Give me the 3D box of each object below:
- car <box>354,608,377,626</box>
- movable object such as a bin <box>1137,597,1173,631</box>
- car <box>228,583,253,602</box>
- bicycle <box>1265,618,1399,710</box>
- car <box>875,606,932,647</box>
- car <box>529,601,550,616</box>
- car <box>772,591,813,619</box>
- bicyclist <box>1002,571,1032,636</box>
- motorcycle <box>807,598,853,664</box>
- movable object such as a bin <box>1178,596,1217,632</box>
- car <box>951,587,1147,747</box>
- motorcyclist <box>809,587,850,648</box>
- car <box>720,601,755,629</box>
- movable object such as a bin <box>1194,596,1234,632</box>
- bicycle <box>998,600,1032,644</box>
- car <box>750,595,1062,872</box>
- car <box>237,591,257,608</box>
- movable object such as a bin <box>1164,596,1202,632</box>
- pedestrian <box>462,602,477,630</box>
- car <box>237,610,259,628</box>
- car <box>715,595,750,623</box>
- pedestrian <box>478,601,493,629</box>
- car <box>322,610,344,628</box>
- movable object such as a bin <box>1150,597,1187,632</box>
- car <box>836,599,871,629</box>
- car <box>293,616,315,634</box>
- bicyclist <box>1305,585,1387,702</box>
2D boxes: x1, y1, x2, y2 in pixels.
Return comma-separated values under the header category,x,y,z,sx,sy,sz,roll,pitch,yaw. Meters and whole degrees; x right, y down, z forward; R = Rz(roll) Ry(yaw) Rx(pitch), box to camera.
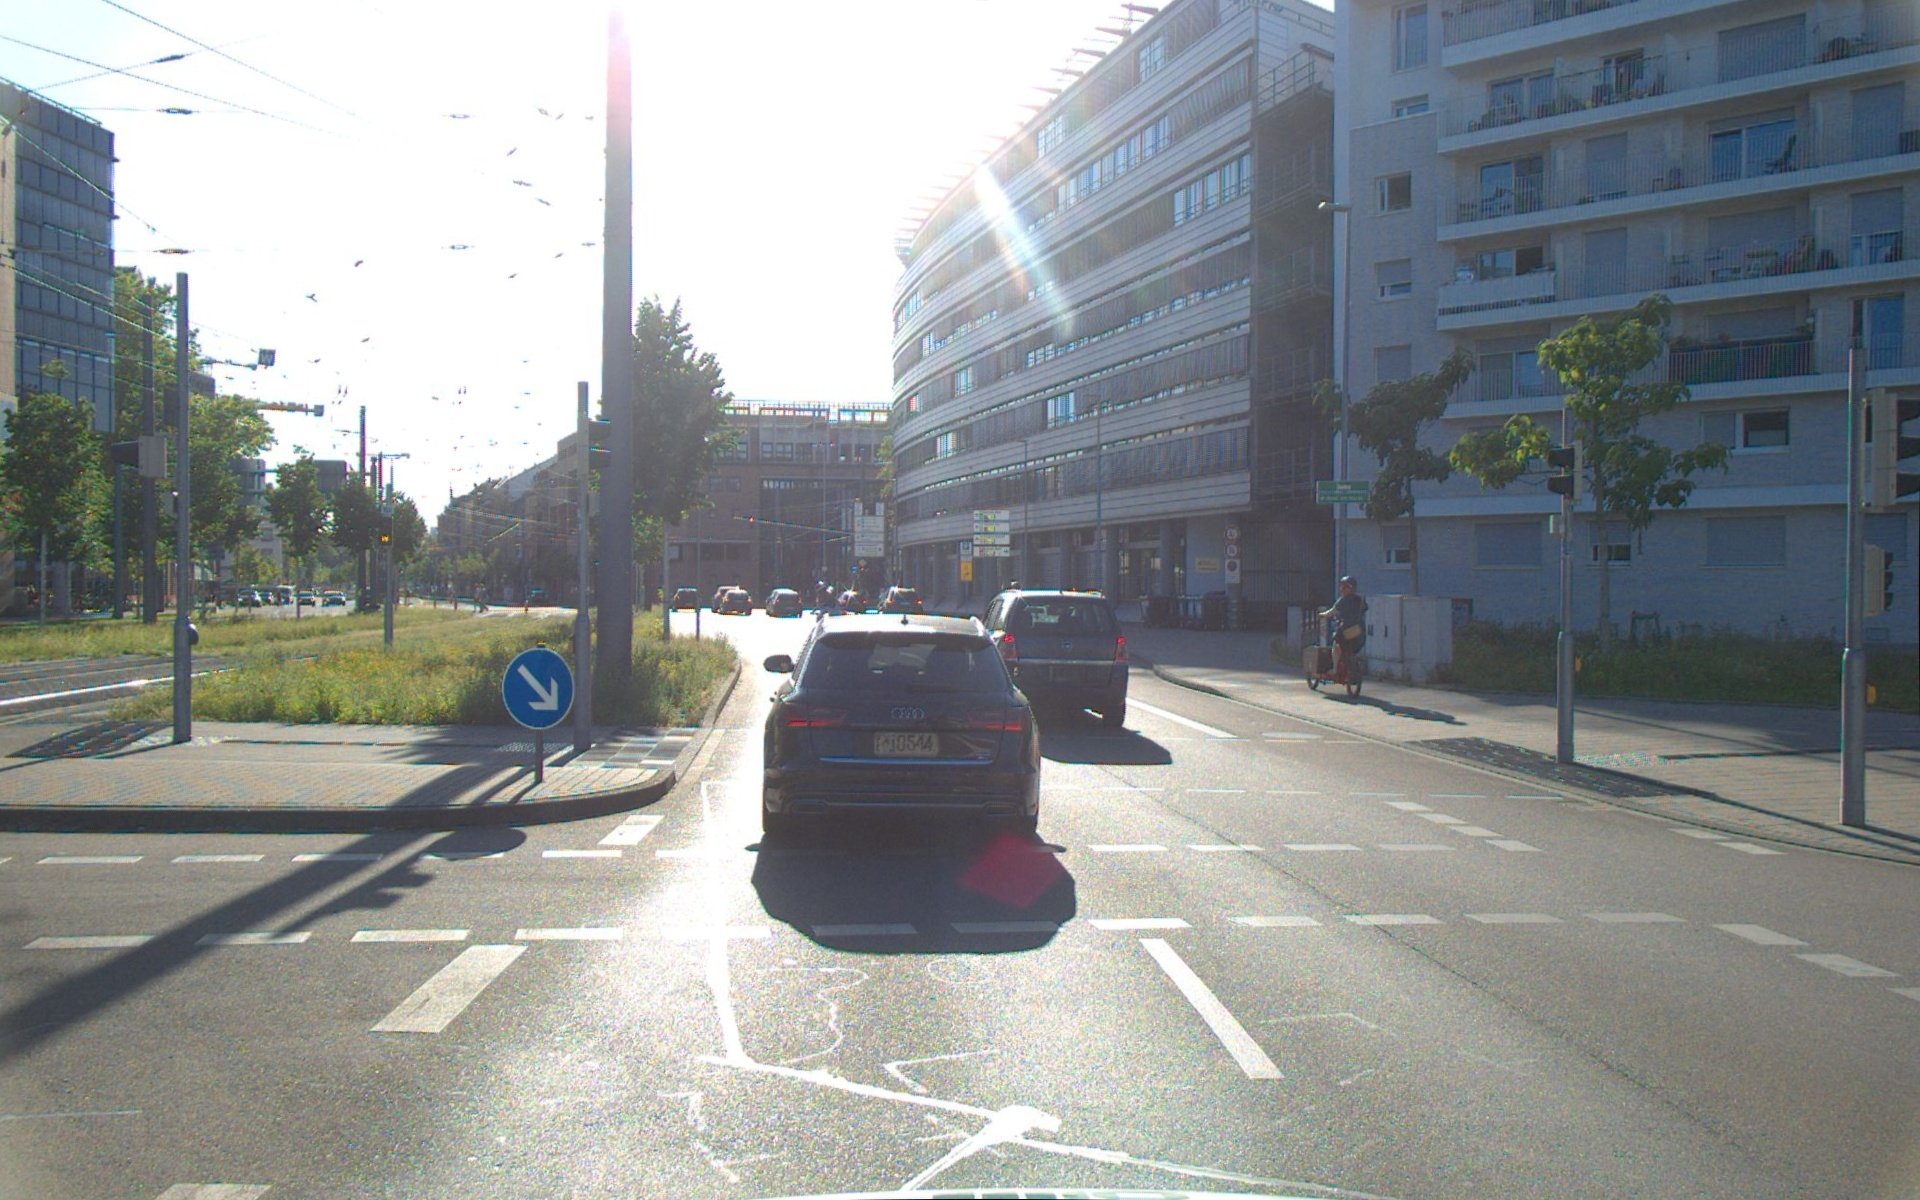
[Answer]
category,x,y,z,sx,sy,sz,roll,pitch,yaw
car,-60.785,1.700,169.038,1.967,1.713,3.972,0,1,-23
movable object such as a bin,7.805,0.545,66.352,1.045,1.355,1.117,0,0,-22
car,-82.473,-0.835,189.520,1.975,2.048,3.955,0,2,-33
bicycle,5.705,0.960,25.481,0.759,1.284,2.057,1,1,-34
car,-2.898,1.316,83.573,1.969,1.745,4.357,2,2,-14
car,-48.268,0.967,189.914,1.964,1.736,3.977,0,0,-20
car,-9.774,0.266,96.298,1.959,1.624,3.987,0,0,-13
bicyclist,1.501,0.076,43.199,0.640,1.671,0.973,1,1,9
motorcycle,-2.967,0.686,37.595,0.847,1.417,1.889,1,1,-10
movable object such as a bin,9.070,0.516,63.214,1.045,1.355,1.117,0,0,-22
car,1.040,0.778,21.514,1.713,1.725,4.254,3,1,-8
motorcyclist,-2.965,0.396,37.470,0.847,1.349,0.680,1,1,-10
car,-13.356,0.889,99.047,1.957,1.624,3.991,0,0,-9
movable object such as a bin,9.530,0.523,62.037,1.045,1.355,1.117,0,0,-22
bicycle,1.455,0.554,43.212,0.640,1.061,1.931,1,1,9
car,-0.334,0.795,11.883,1.805,1.479,4.000,3,1,0
car,-88.846,-0.090,206.121,1.962,2.048,3.981,0,2,-18
movable object such as a bin,8.656,0.538,64.273,1.045,1.355,1.117,0,0,-22
pedestrian,-32.917,1.061,111.000,0.886,1.856,0.827,0,-1,-11
car,-70.792,1.887,164.524,1.967,1.713,3.972,0,1,-23
car,-14.542,0.590,105.519,1.959,1.736,3.988,0,0,-12
pedestrian,-31.692,0.969,110.373,0.886,1.856,0.827,0,-1,-11
car,-63.989,1.948,168.819,1.967,1.713,3.972,0,1,-23
movable object such as a bin,8.244,0.553,65.321,1.045,1.355,1.117,0,0,-22
car,-7.011,0.909,108.475,1.957,1.870,3.991,0,0,-9
car,-66.651,2.512,168.051,1.967,1.713,3.972,0,1,-23
bicyclist,5.886,0.644,25.226,0.759,1.736,0.919,1,1,-34
